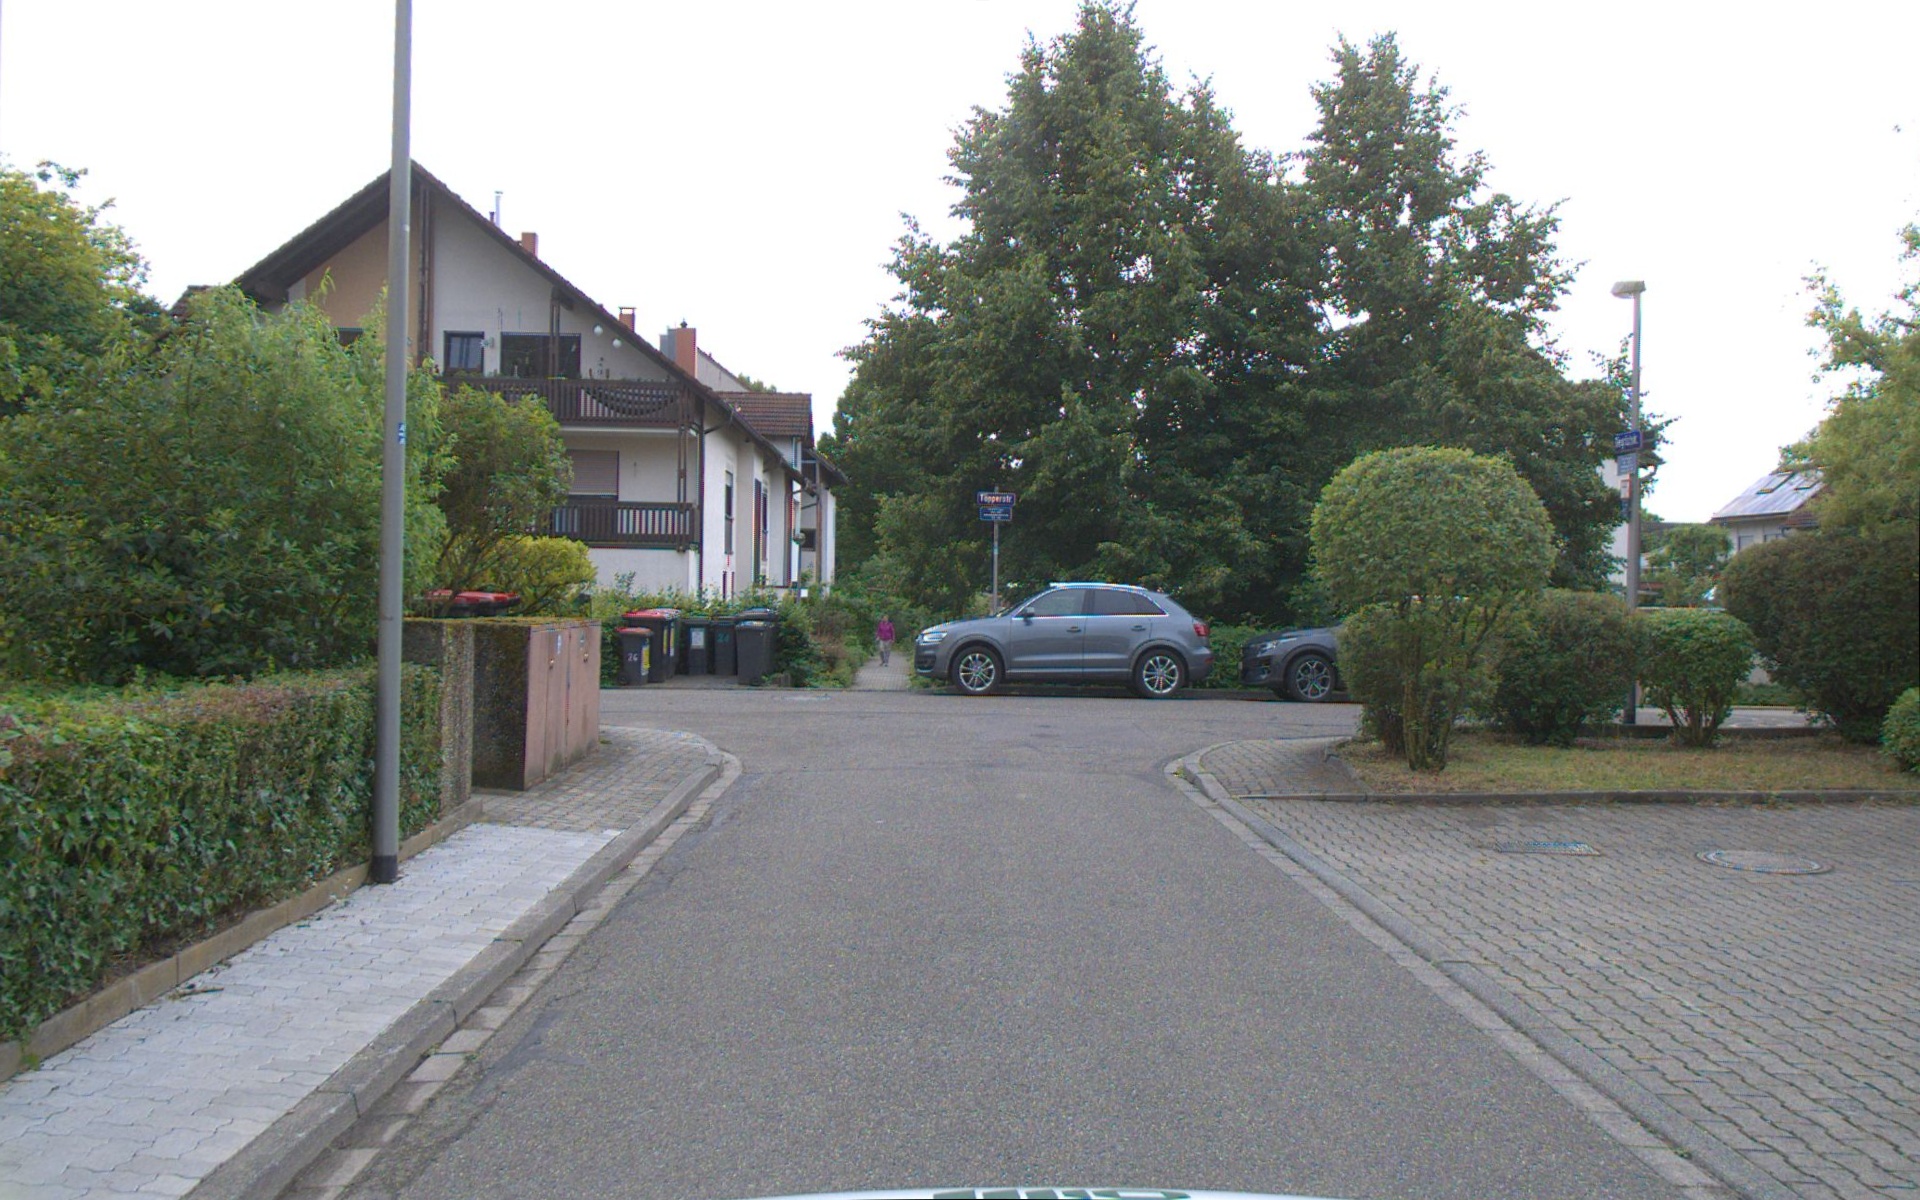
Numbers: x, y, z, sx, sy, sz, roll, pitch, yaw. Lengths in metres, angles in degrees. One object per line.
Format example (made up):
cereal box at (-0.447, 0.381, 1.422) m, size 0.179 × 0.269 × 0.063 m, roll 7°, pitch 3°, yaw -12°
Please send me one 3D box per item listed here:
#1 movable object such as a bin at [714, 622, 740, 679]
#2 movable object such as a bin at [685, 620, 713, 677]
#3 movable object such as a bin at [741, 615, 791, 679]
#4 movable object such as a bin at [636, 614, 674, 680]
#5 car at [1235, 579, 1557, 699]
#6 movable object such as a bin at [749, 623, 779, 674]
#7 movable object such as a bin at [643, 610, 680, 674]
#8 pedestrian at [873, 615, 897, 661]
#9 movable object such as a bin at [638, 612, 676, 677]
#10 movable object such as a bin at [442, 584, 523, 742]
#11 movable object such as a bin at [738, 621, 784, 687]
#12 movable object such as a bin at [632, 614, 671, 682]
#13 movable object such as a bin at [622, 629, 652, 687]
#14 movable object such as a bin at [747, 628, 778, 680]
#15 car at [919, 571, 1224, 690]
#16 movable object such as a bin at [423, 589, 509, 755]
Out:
movable object such as a bin at (-3.797, 0.815, 26.963) m, size 0.378 × 0.905 × 0.379 m, roll 2°, pitch 0°, yaw -4°
movable object such as a bin at (-4.249, 0.788, 26.935) m, size 0.378 × 0.917 × 0.379 m, roll 2°, pitch 0°, yaw -4°
movable object such as a bin at (-3.069, 0.735, 26.208) m, size 0.719 × 0.970 × 0.584 m, roll 2°, pitch 0°, yaw -2°
movable object such as a bin at (-4.773, 0.738, 25.907) m, size 0.526 × 1.011 × 0.337 m, roll 2°, pitch 0°, yaw -4°
car at (6.023, 0.548, 23.201) m, size 4.094 × 1.558 × 1.748 m, roll 1°, pitch -1°, yaw 3°
movable object such as a bin at (-3.216, 0.800, 27.192) m, size 0.450 × 0.811 × 0.379 m, roll 2°, pitch 0°, yaw -4°
movable object such as a bin at (-4.825, 0.677, 26.731) m, size 0.526 × 1.011 × 0.337 m, roll 2°, pitch 0°, yaw -4°
pedestrian at (-2.526, 1.268, 55.689) m, size 0.799 × 1.544 × 0.438 m, roll 0°, pitch 0°, yaw -4°
movable object such as a bin at (-4.807, 0.708, 26.259) m, size 0.526 × 1.011 × 0.337 m, roll 2°, pitch 0°, yaw -4°
movable object such as a bin at (-3.745, 0.481, 12.992) m, size 0.495 × 1.208 × 0.515 m, roll -1°, pitch 0°, yaw -3°
movable object such as a bin at (-3.054, 0.818, 25.441) m, size 0.625 × 0.970 × 0.722 m, roll 2°, pitch 0°, yaw -3°
movable object such as a bin at (-4.757, 0.735, 25.536) m, size 0.526 × 1.011 × 0.379 m, roll 2°, pitch 0°, yaw -4°
movable object such as a bin at (-4.880, 0.881, 25.022) m, size 0.378 × 0.851 × 0.379 m, roll 2°, pitch 0°, yaw -4°
movable object such as a bin at (-3.192, 0.878, 26.766) m, size 0.450 × 0.811 × 0.379 m, roll 2°, pitch 0°, yaw -4°
car at (1.505, 0.442, 23.440) m, size 4.152 × 1.558 × 1.746 m, roll 1°, pitch -1°, yaw -2°
movable object such as a bin at (-3.675, 0.522, 12.325) m, size 0.495 × 1.208 × 0.515 m, roll -1°, pitch 0°, yaw -3°
